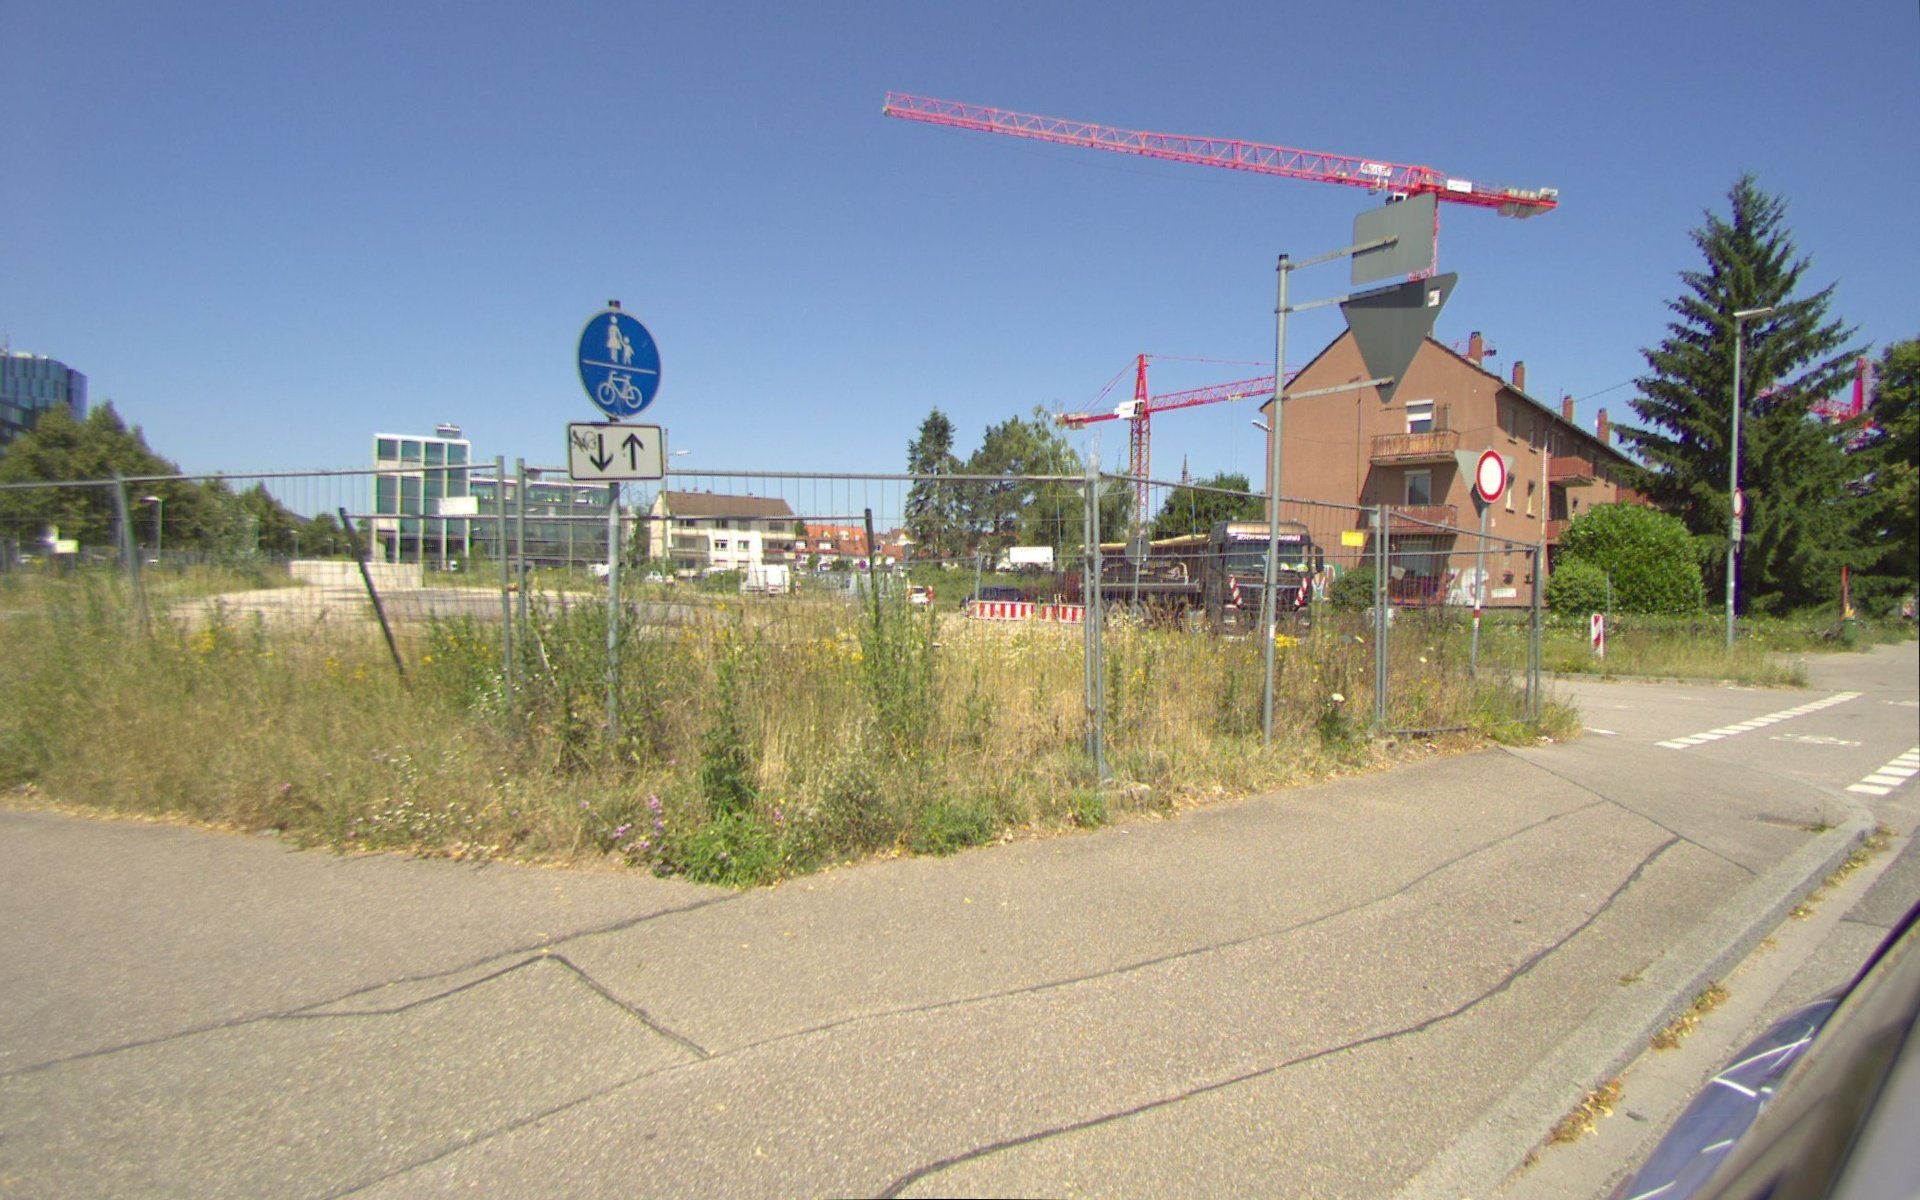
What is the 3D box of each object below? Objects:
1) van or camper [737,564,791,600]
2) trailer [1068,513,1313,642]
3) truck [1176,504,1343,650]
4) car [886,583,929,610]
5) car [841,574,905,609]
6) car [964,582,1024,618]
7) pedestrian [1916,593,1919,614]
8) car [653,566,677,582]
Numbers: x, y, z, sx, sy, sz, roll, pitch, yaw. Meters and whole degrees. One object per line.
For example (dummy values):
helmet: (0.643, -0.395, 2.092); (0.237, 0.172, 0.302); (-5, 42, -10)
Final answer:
van or camper: (-15.209, -1.441, 78.179); (1.891, 2.634, 7.012); (1, 1, -30)
trailer: (7.089, -0.726, 32.999); (3.098, 3.577, 9.012); (1, 1, -22)
truck: (8.022, -0.635, 27.812); (3.106, 3.577, 4.963); (1, 1, 2)
car: (-2.995, -0.205, 57.561); (1.390, 1.423, 2.795); (-2, 3, -28)
car: (-5.361, -0.551, 62.040); (1.751, 2.039, 4.683); (1, 1, -35)
car: (1.617, -0.030, 48.977); (1.342, 1.633, 3.424); (1, 1, -27)
pedestrian: (72.881, 0.270, 76.313); (0.670, 1.536, 1.024); (1, 1, -40)
car: (-30.764, -2.665, 105.578); (1.647, 1.606, 3.626); (0, 1, -30)
